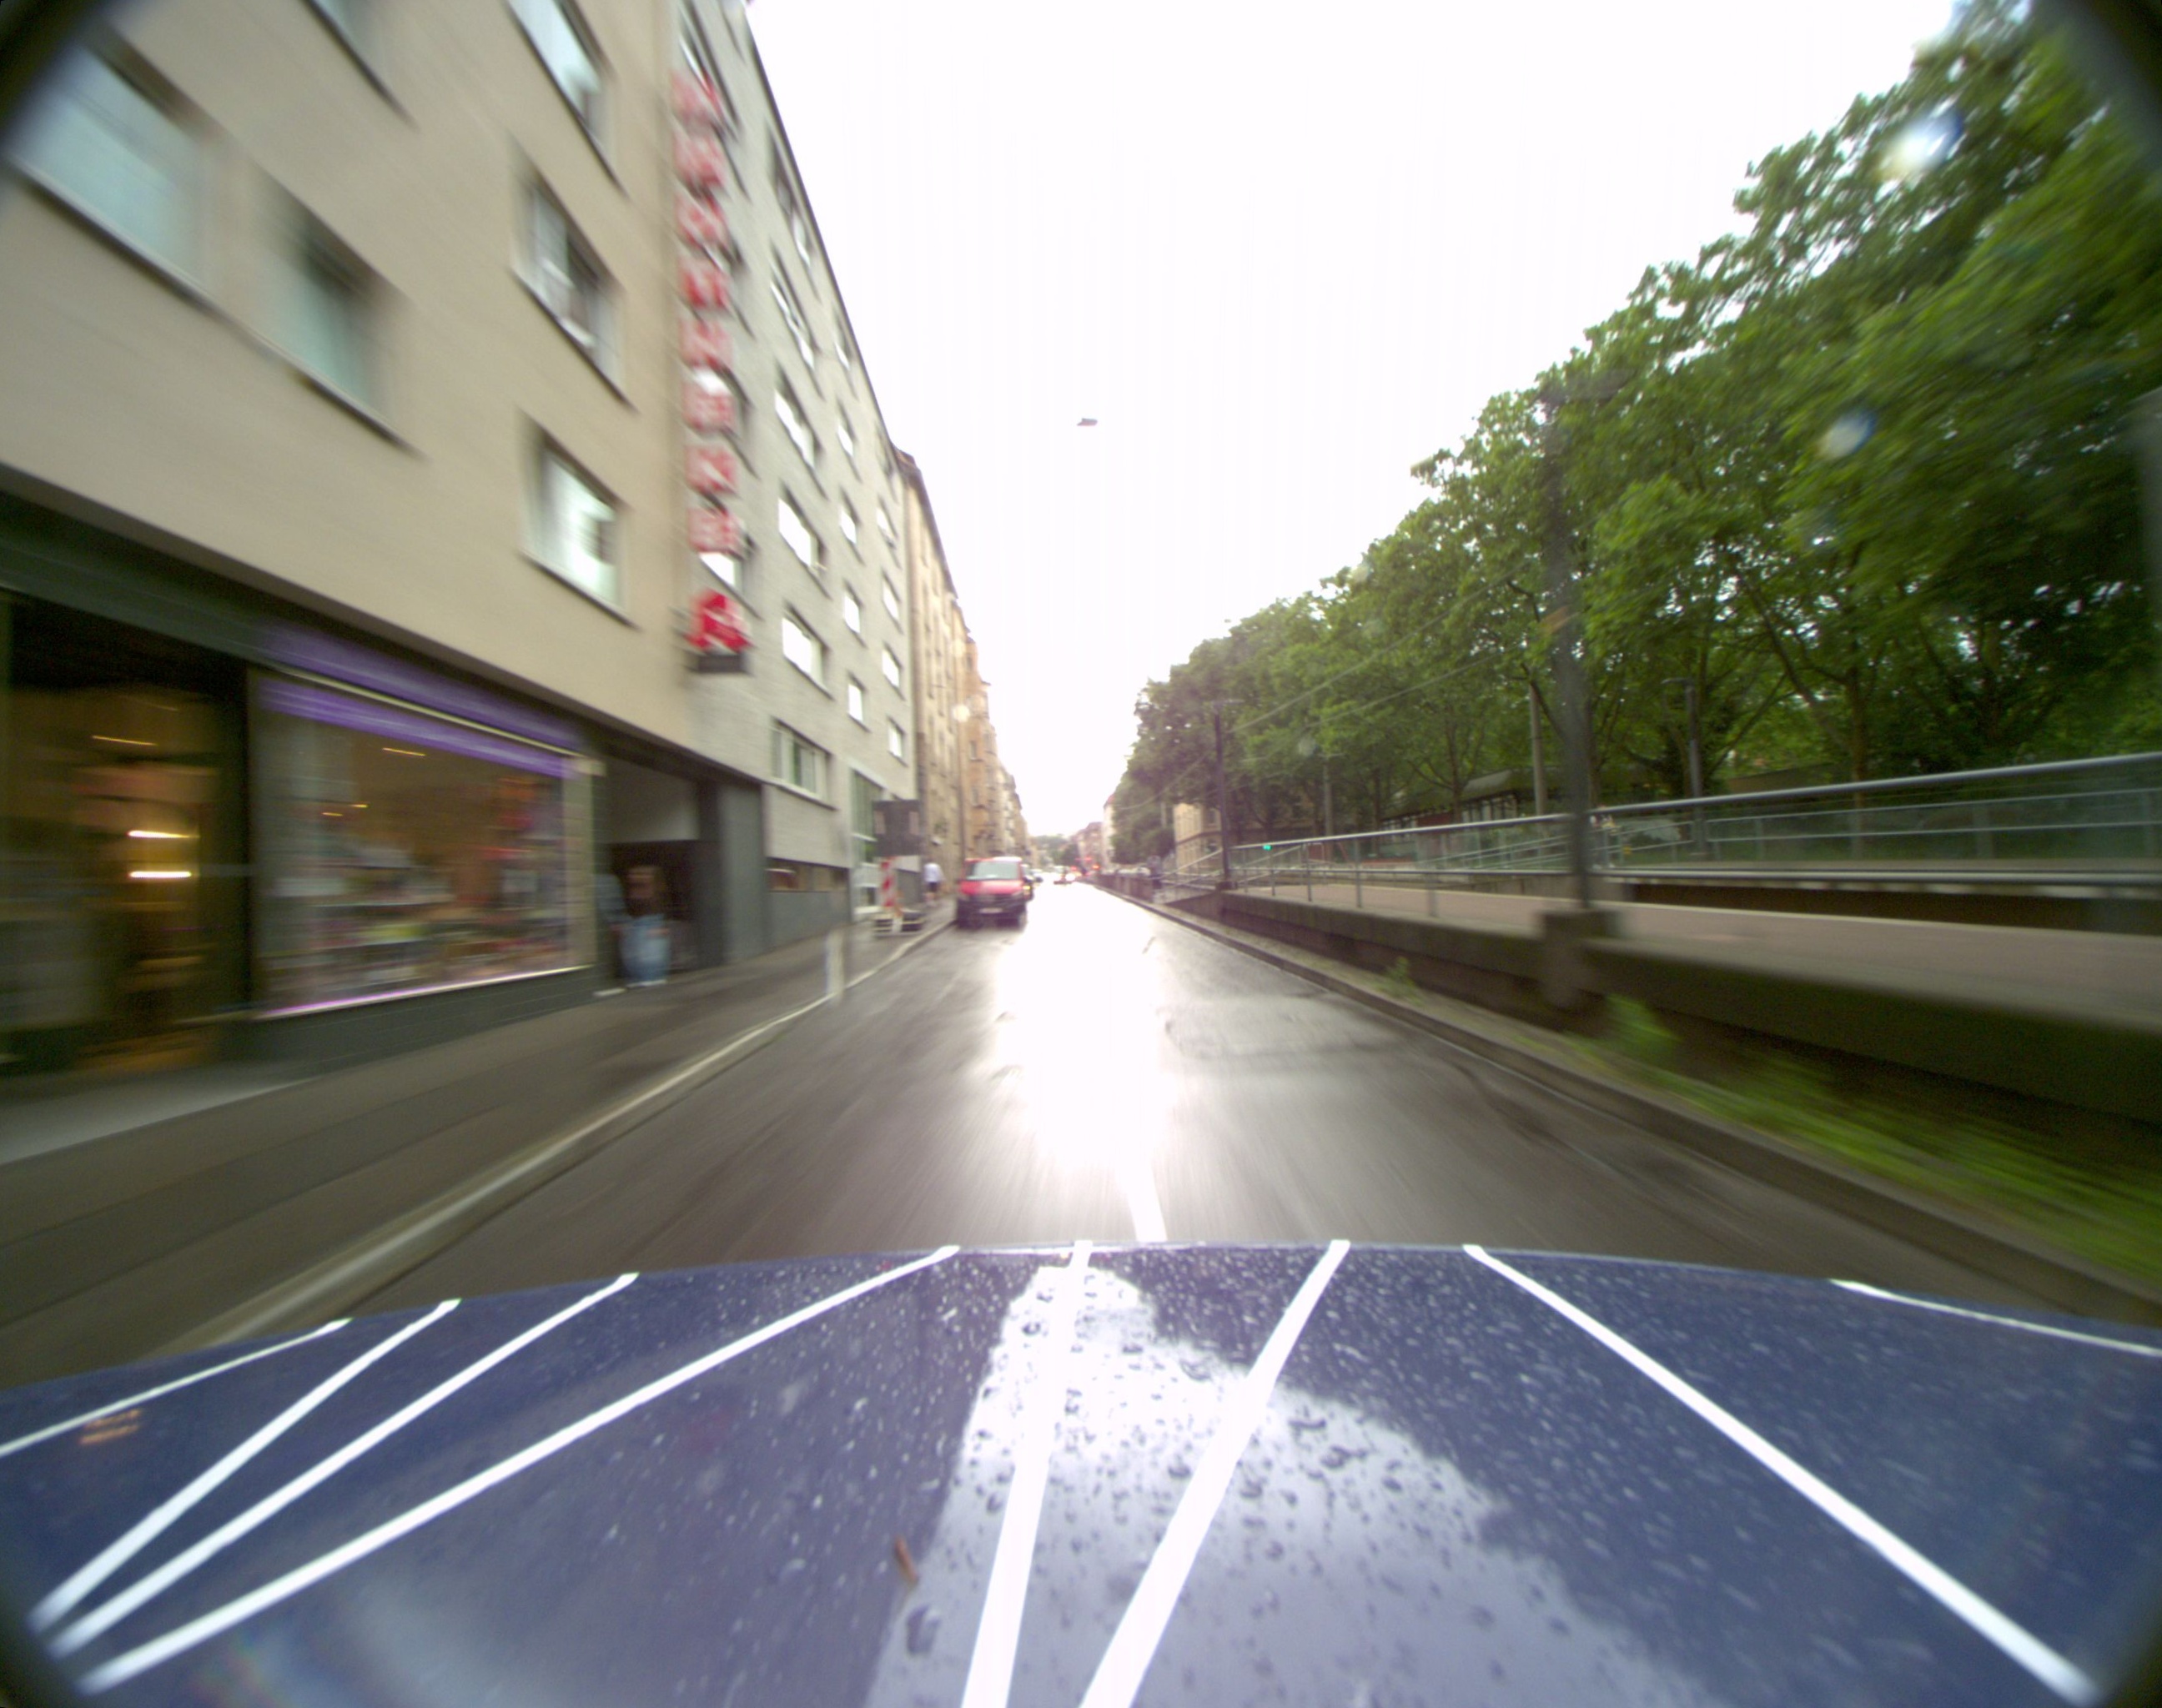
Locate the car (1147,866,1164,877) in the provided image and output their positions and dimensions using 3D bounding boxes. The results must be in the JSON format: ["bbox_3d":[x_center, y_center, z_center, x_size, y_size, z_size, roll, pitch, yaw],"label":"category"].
[{"bbox_3d":[9.999,2.312,101.535,1.646,1.392,3.516,-2,-2,-4],"label":"car"}]

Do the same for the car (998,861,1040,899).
[{"bbox_3d":[-3.000,1.290,37.584,1.770,1.698,4.499,-2,-2,-2],"label":"car"}]

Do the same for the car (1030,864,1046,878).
[{"bbox_3d":[-5.149,2.016,91.123,1.746,1.576,4.000,-2,-2,-3],"label":"car"}]

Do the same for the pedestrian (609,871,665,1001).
[{"bbox_3d":[-5.811,1.057,9.957,0.482,1.635,0.331,-3,0,-9],"label":"pedestrian"}]

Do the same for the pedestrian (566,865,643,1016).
[{"bbox_3d":[-5.624,0.997,8.991,0.462,1.710,0.516,-3,0,6],"label":"pedestrian"}]

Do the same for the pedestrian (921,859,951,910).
[{"bbox_3d":[-5.174,1.079,27.183,0.853,1.747,0.837,-4,-1,-2],"label":"pedestrian"}]

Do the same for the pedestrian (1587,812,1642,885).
[{"bbox_3d":[12.774,-0.128,18.215,0.659,1.652,0.688,-3,-4,-3],"label":"pedestrian"}]

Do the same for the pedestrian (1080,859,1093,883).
[{"bbox_3d":[0.401,1.223,53.997,0.652,1.694,0.662,-3,-1,20],"label":"pedestrian"}]

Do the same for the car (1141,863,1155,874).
[{"bbox_3d":[9.810,2.165,112.008,1.484,1.392,3.282,-2,-2,-5],"label":"car"}]

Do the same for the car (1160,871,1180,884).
[{"bbox_3d":[11.369,2.998,96.938,1.892,1.468,3.807,-3,-1,-2],"label":"car"}]

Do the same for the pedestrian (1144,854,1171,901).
[{"bbox_3d":[3.015,0.934,30.067,0.861,1.788,0.787,-3,-1,-3],"label":"pedestrian"}]

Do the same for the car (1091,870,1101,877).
[{"bbox_3d":[3.443,4.580,177.593,1.688,1.468,3.311,-3,-1,-7],"label":"car"}]

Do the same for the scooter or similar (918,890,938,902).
[{"bbox_3d":[-6.314,1.737,31.351,0.859,0.503,0.258,-2,0,28],"label":"scooter or similar"}]

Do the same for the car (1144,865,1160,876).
[{"bbox_3d":[9.847,2.331,105.194,1.646,1.392,3.516,-2,-2,-4],"label":"car"}]

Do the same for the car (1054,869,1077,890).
[{"bbox_3d":[-1.311,2.103,62.392,1.621,1.592,4.067,-2,-3,-4],"label":"car"}]

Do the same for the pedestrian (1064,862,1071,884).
[{"bbox_3d":[-1.014,1.398,57.032,0.481,1.629,0.433,-3,-1,-3],"label":"pedestrian"}]

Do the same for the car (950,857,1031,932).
[{"bbox_3d":[-2.491,1.062,21.966,1.980,1.827,5.244,-2,-1,-4],"label":"car"}]
